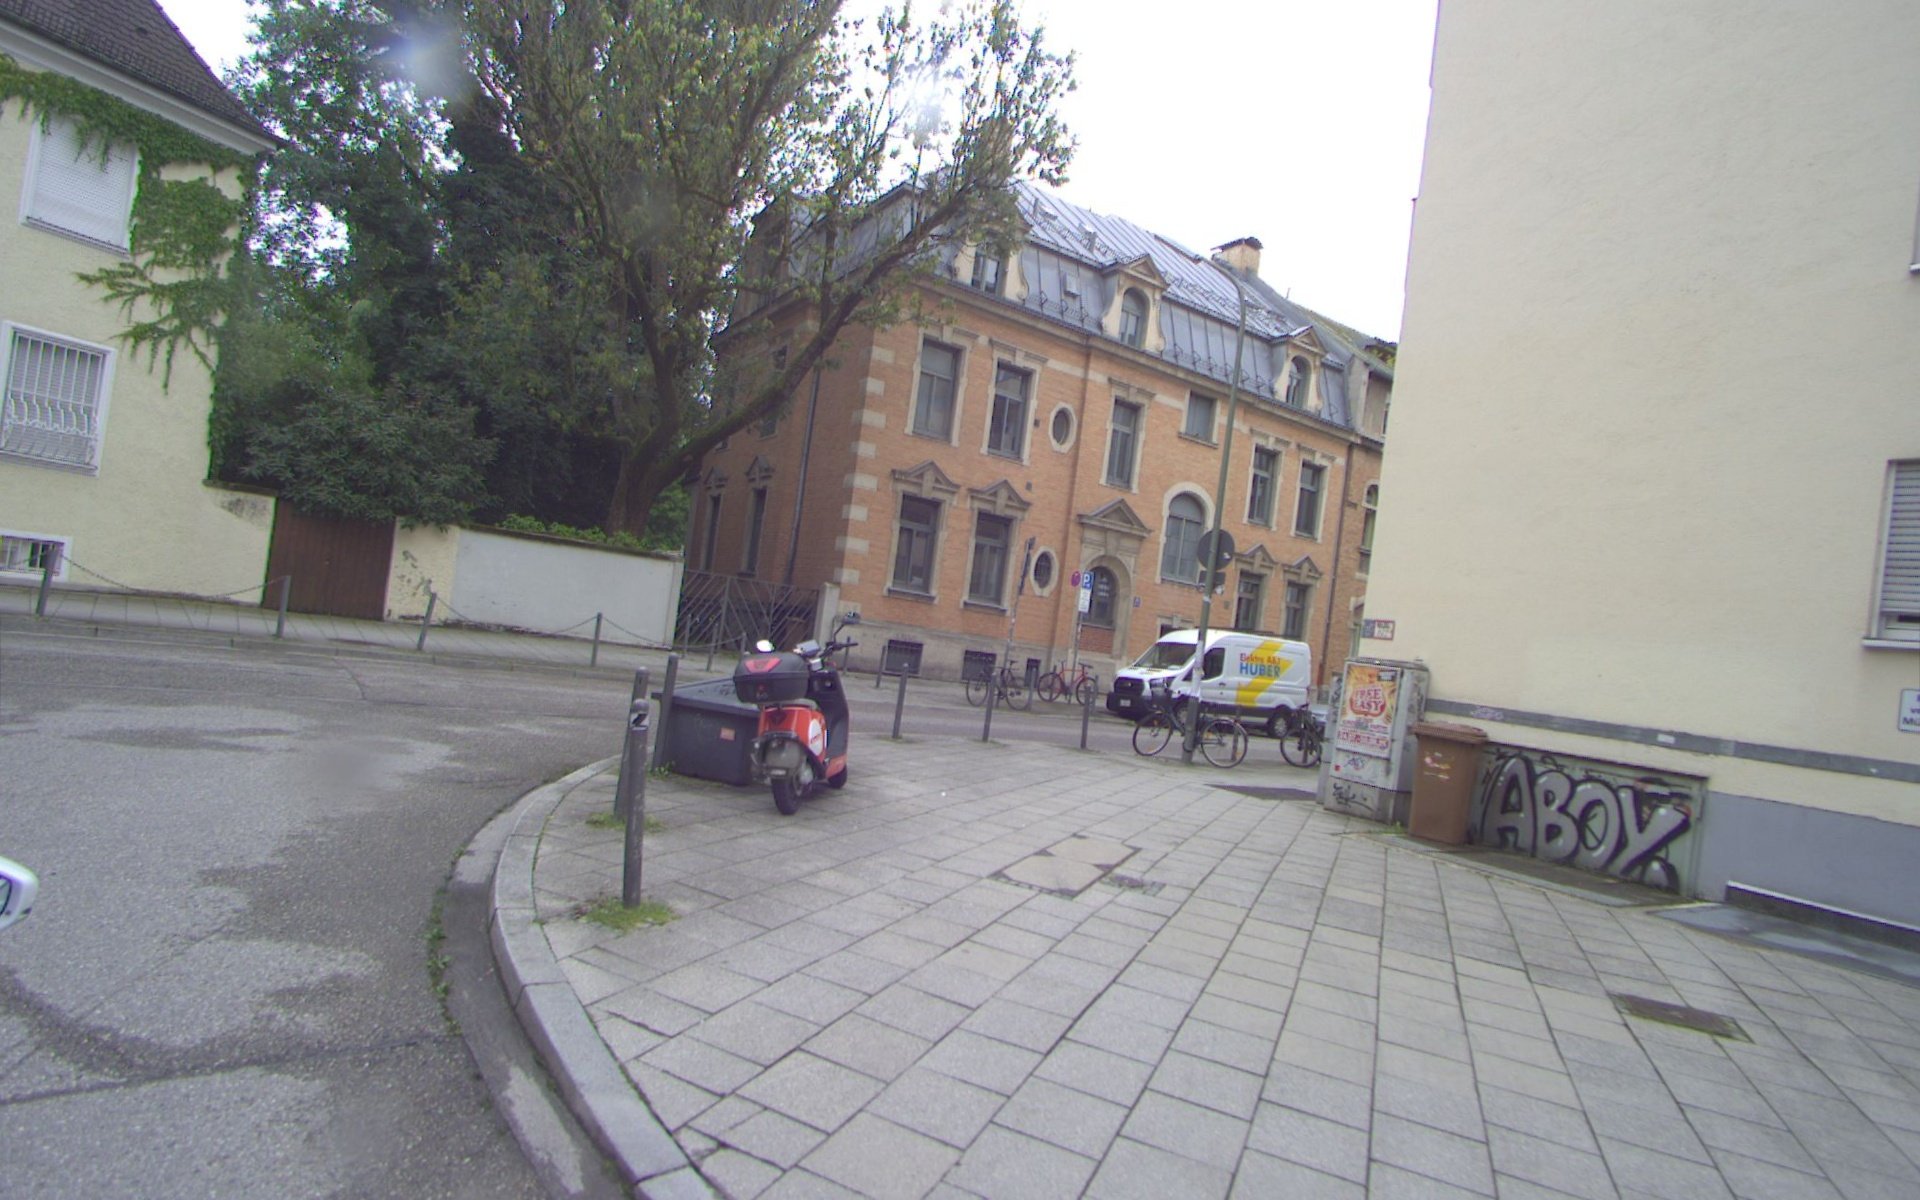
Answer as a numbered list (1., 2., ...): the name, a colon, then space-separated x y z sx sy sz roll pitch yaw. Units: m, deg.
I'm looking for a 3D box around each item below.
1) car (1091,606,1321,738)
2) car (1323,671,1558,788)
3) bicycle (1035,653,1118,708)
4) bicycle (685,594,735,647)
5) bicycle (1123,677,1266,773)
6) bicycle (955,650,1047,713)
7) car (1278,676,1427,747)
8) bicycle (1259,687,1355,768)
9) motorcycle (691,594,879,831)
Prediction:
1. car: 5.981 1.765 24.163 5.419 2.495 1.983 9 -4 -32
2. car: 9.171 2.479 19.088 4.508 1.657 1.840 9 -2 -33
3. bicycle: 2.811 1.946 24.122 1.874 1.066 0.577 9 0 -29
4. bicycle: -6.560 0.515 26.323 0.531 1.233 2.066 8 -2 -32
5. bicycle: 3.368 1.784 14.479 1.735 1.078 0.774 6 -2 36
6. bicycle: 0.855 1.692 20.760 1.743 1.066 0.577 9 -2 -29
7. car: 10.717 3.054 27.403 3.958 1.470 1.681 9 -4 -32
8. bicycle: 5.685 2.094 16.406 0.574 1.167 1.953 6 -2 45
9. motorcycle: -1.172 0.745 7.293 0.802 1.371 2.086 7 -2 1
